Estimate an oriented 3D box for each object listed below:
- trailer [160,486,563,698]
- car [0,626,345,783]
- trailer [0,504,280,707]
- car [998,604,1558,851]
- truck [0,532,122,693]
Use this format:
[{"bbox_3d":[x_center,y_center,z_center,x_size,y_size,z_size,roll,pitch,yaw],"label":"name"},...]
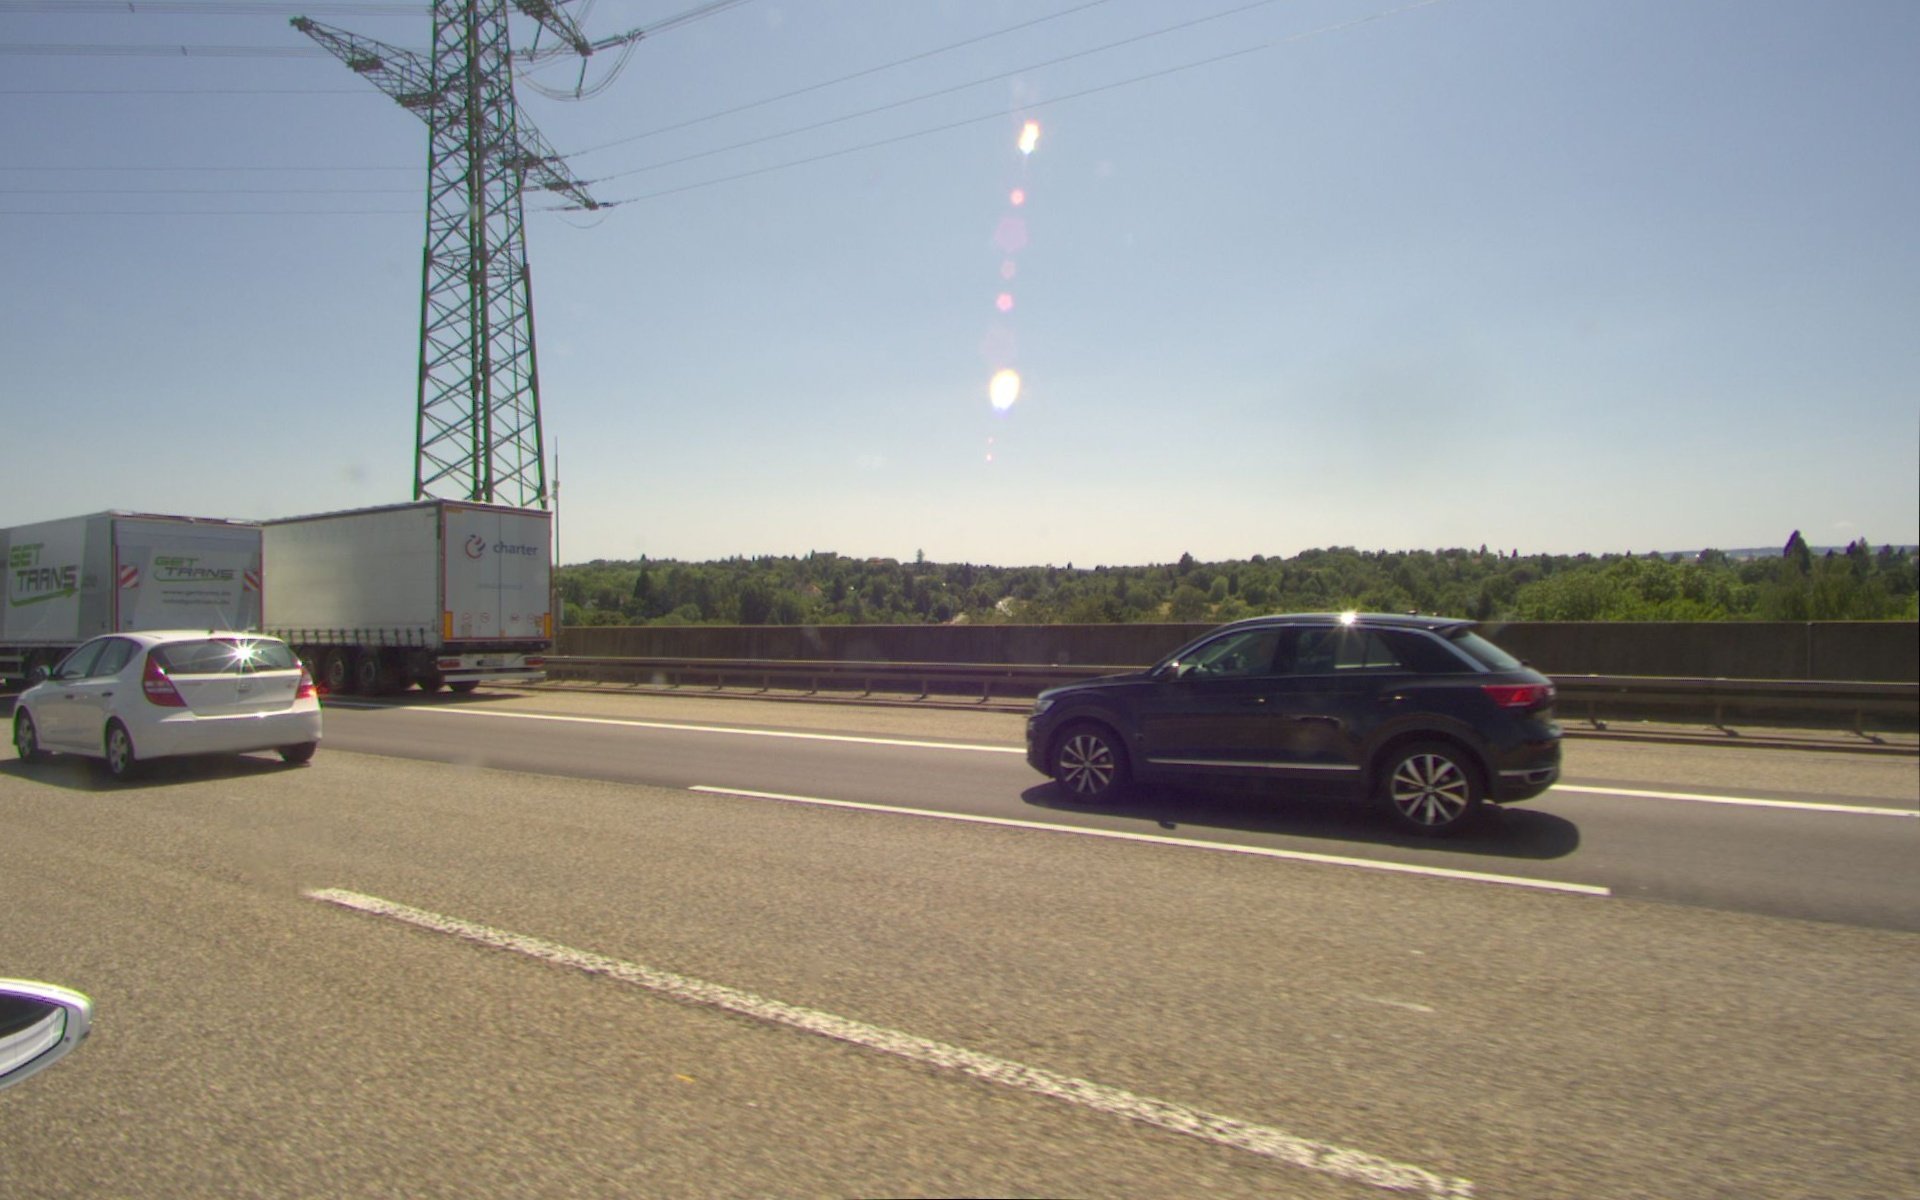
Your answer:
[{"bbox_3d":[-15.093,-0.022,24.476,13.231,4.194,2.710,-1,-2,32],"label":"trailer"},{"bbox_3d":[-9.011,1.035,11.353,4.231,1.474,1.785,-1,-1,32],"label":"car"},{"bbox_3d":[-18.176,0.181,21.717,7.898,3.748,2.693,-1,-1,32],"label":"trailer"},{"bbox_3d":[2.480,0.864,8.118,4.047,1.546,1.733,-1,-2,32],"label":"car"},{"bbox_3d":[-26.159,0.367,26.611,10.850,3.695,2.652,-1,-1,32],"label":"truck"}]
